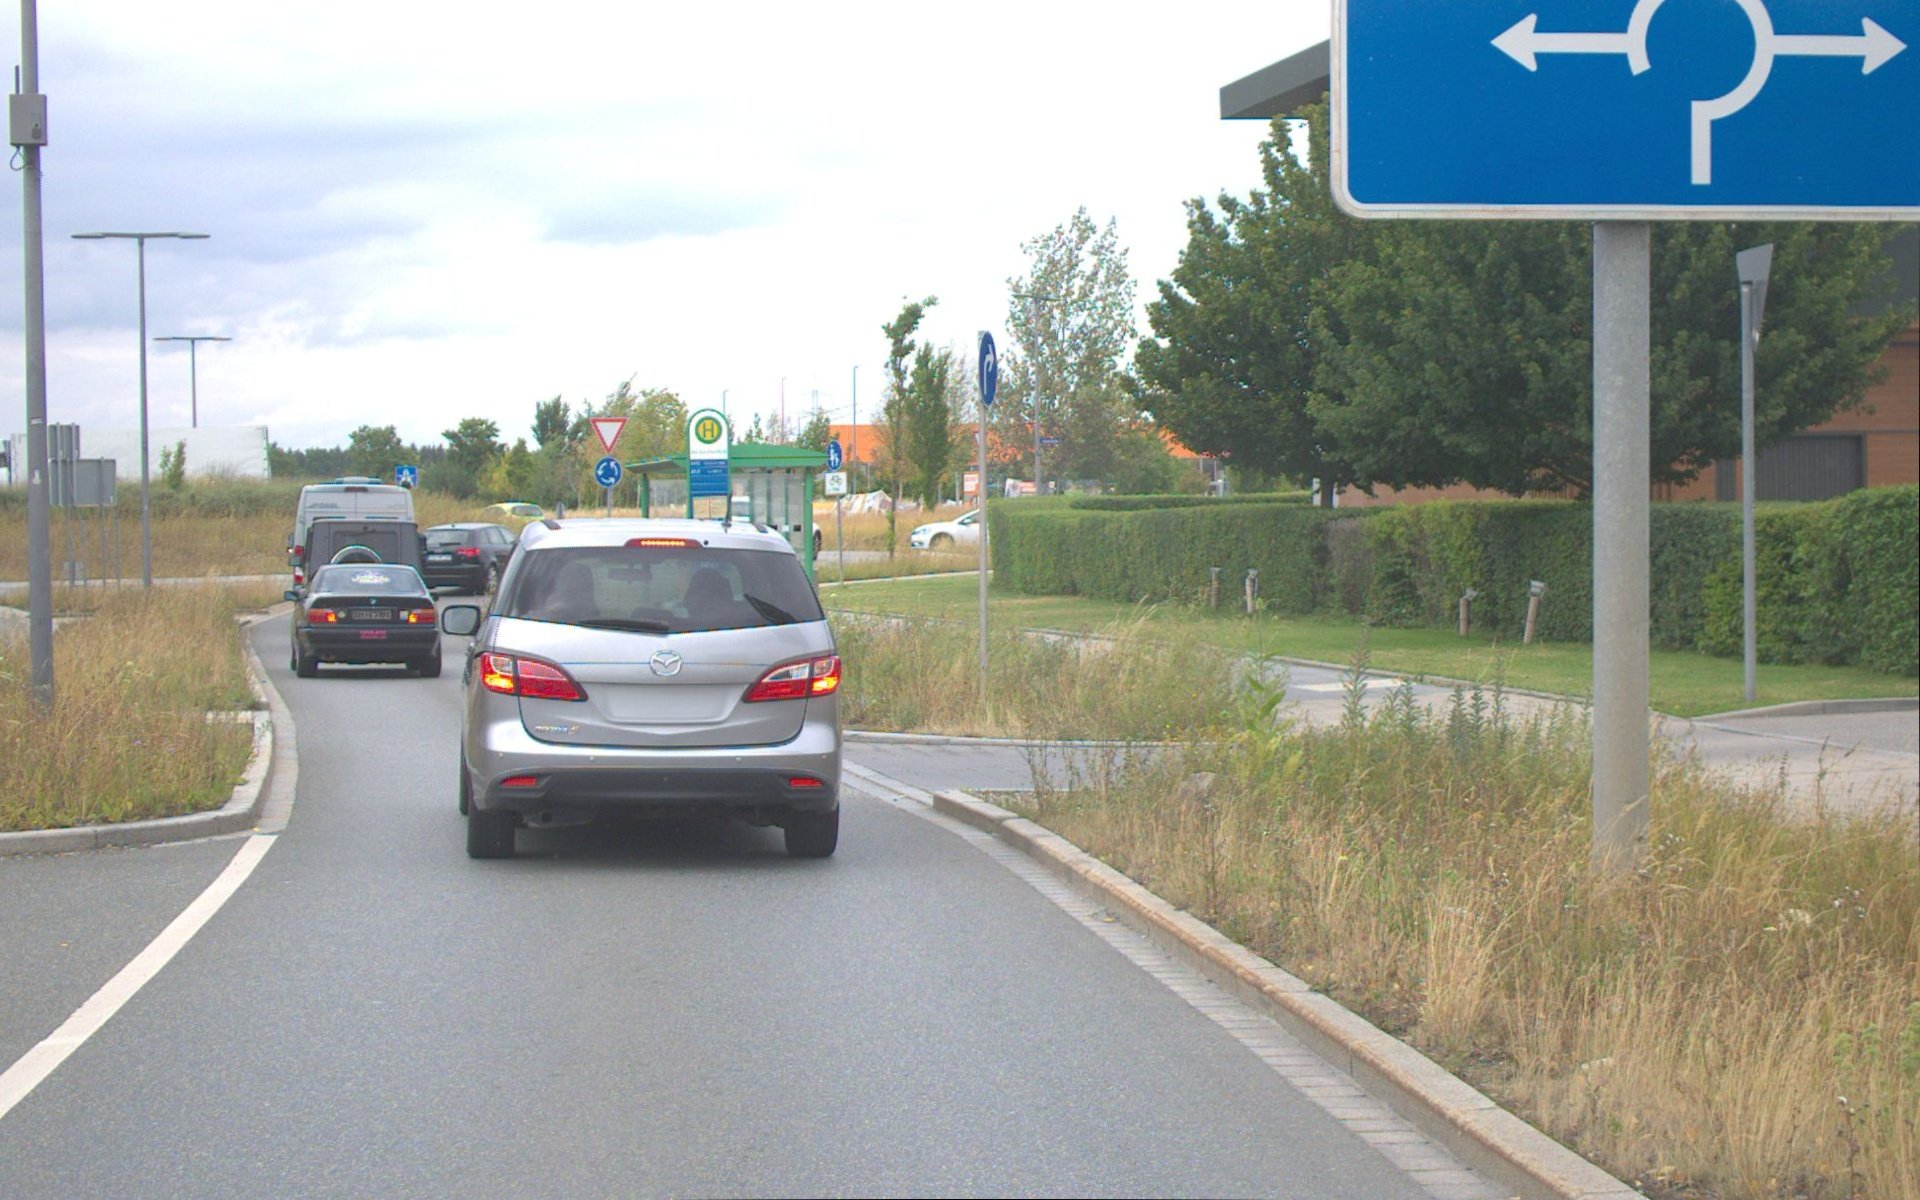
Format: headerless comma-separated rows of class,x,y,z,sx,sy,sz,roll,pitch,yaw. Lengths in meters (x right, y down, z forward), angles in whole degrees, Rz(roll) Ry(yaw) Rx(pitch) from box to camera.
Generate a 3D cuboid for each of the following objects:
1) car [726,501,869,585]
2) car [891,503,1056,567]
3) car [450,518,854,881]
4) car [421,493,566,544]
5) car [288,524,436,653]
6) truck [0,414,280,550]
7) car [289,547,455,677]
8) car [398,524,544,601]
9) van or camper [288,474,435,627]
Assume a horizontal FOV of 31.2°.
car,-3.975,-1.421,84.920,1.995,2.007,4.620,0,1,19
car,0.359,-1.842,97.354,4.602,1.751,2.000,0,1,-1
car,-1.637,0.398,17.119,1.729,1.594,3.808,0,1,-9
car,-14.379,-2.518,105.937,3.992,1.510,1.997,0,1,26
car,-8.898,-0.204,51.256,2.058,1.819,4.787,0,1,-9
truck,-24.967,-3.478,101.946,9.302,3.893,3.144,-1,1,-10
car,-7.118,0.101,41.341,1.844,1.413,4.226,-1,2,-11
car,-9.983,-0.785,70.509,1.994,1.510,3.999,-1,1,7
van or camper,-10.222,-0.871,59.066,2.302,2.497,5.207,0,1,-8
